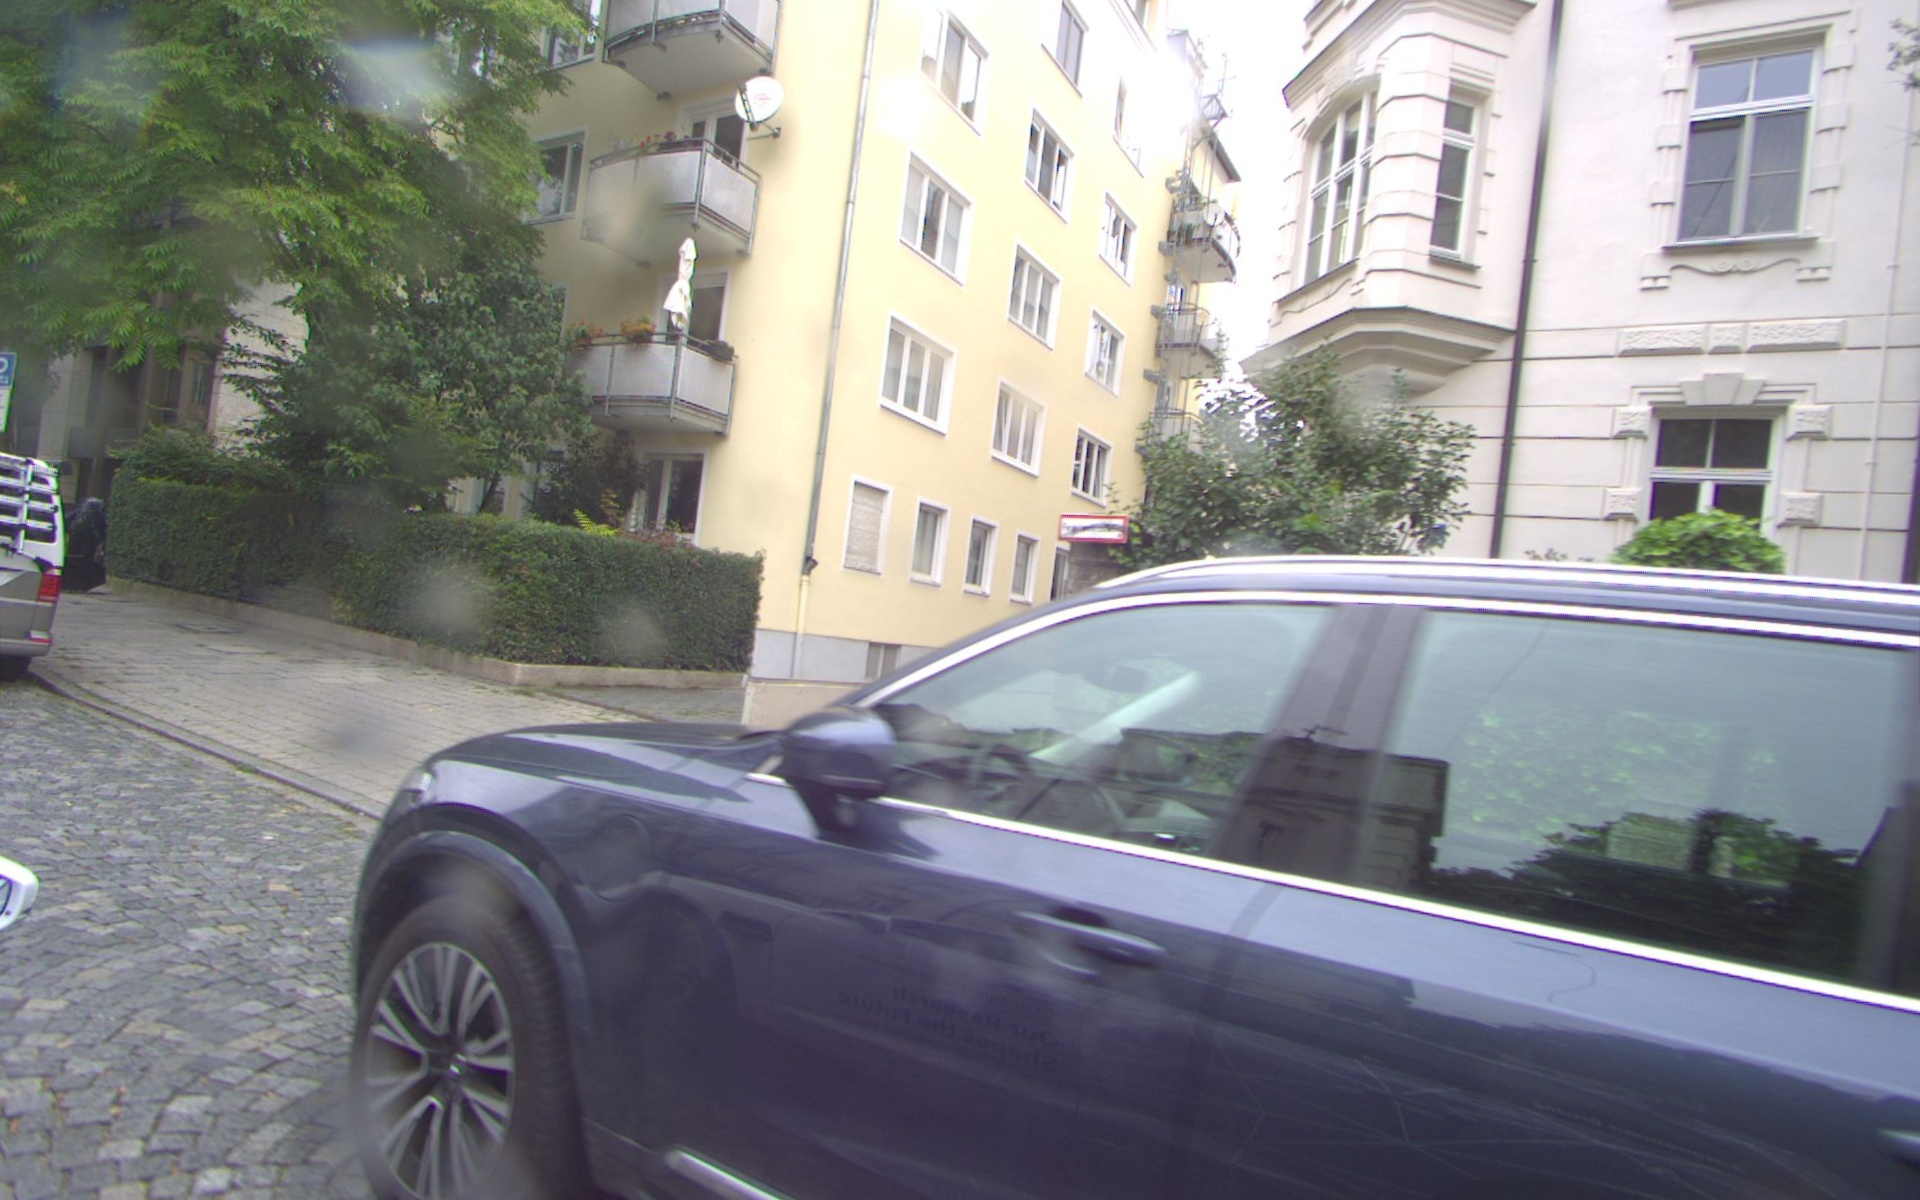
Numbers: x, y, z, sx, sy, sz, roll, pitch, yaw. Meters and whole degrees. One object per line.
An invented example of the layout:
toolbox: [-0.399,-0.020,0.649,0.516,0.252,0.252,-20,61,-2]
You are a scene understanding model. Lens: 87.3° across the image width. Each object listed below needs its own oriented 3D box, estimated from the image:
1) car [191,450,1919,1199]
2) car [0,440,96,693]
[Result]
car: [0.589,0.794,2.338,4.871,1.779,1.967,6,-2,31]
car: [-9.891,-0.550,8.868,4.779,1.969,1.806,6,-4,31]
